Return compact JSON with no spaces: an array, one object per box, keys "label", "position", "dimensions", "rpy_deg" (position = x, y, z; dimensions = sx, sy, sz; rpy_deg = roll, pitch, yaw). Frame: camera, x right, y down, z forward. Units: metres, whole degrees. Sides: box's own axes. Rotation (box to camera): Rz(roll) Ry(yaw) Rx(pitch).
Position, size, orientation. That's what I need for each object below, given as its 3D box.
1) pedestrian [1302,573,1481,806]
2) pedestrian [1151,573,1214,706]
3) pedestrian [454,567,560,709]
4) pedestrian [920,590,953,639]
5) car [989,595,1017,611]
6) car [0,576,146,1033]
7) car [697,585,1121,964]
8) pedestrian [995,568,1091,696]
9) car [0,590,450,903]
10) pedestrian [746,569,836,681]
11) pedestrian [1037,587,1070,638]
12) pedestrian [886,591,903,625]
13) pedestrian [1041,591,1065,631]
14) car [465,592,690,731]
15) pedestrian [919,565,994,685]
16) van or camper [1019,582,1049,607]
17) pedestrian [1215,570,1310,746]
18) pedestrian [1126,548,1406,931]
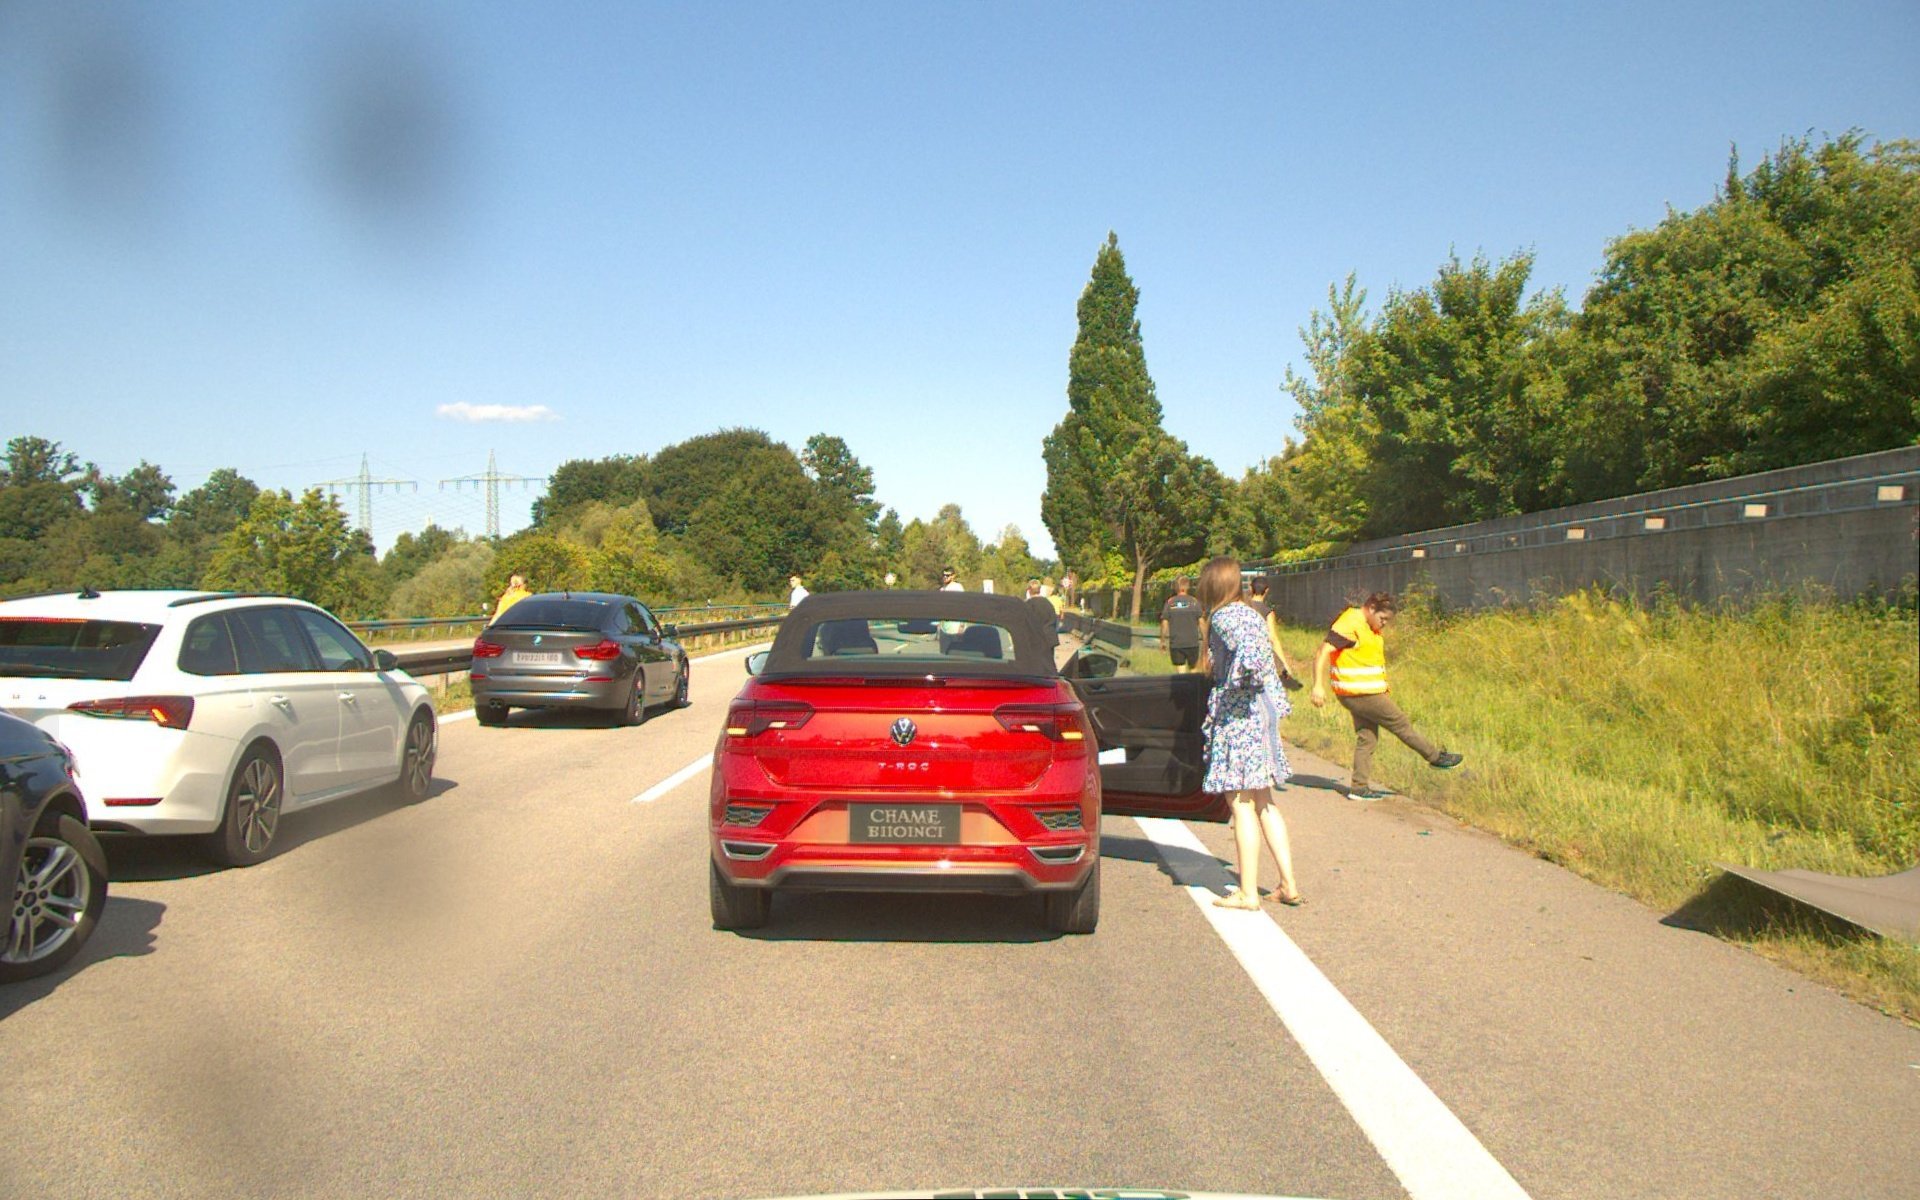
[{"label":"pedestrian","position":[3.254,0.649,12.551],"dimensions":[1.247,1.682,0.961],"rpy_deg":[-1,0,13]},{"label":"pedestrian","position":[3.071,0.533,22.795],"dimensions":[0.794,1.790,0.829],"rpy_deg":[1,-1,10]},{"label":"pedestrian","position":[-5.910,0.479,21.636],"dimensions":[1.019,1.794,1.119],"rpy_deg":[-1,0,3]},{"label":"pedestrian","position":[-0.857,0.529,59.353],"dimensions":[0.953,1.719,1.113],"rpy_deg":[1,0,-13]},{"label":"car","position":[4.213,0.330,162.104],"dimensions":[1.696,1.513,4.213],"rpy_deg":[1,0,16]},{"label":"car","position":[-3.945,0.685,4.519],"dimensions":[1.754,1.519,4.484],"rpy_deg":[-1,0,-8]},{"label":"car","position":[-0.204,0.697,8.802],"dimensions":[1.697,1.513,4.210],"rpy_deg":[1,0,0]},{"label":"pedestrian","position":[1.277,0.479,25.517],"dimensions":[1.078,1.916,1.058],"rpy_deg":[-1,0,-29]},{"label":"car","position":[-4.567,0.687,9.971],"dimensions":[1.660,1.467,4.210],"rpy_deg":[1,0,0]},{"label":"pedestrian","position":[-2.812,0.412,27.524],"dimensions":[1.079,1.820,1.094],"rpy_deg":[1,-1,-35]},{"label":"pedestrian","position":[3.186,0.432,56.359],"dimensions":[1.033,1.719,1.018],"rpy_deg":[1,0,7]},{"label":"pedestrian","position":[-3.380,0.404,85.273],"dimensions":[0.775,1.719,0.793],"rpy_deg":[1,-1,5]},{"label":"pedestrian","position":[4.008,0.472,71.369],"dimensions":[0.975,1.719,1.011],"rpy_deg":[1,0,3]},{"label":"car","position":[-4.423,0.645,19.766],"dimensions":[1.660,1.451,4.334],"rpy_deg":[1,0,0]},{"label":"pedestrian","position":[-0.069,0.401,27.586],"dimensions":[1.085,1.946,1.255],"rpy_deg":[-1,0,-8]},{"label":"van or camper","position":[7.234,-0.492,161.054],"dimensions":[1.951,2.356,4.473],"rpy_deg":[1,0,16]},{"label":"pedestrian","position":[3.106,0.582,17.035],"dimensions":[0.876,1.755,0.755],"rpy_deg":[1,-1,5]},{"label":"pedestrian","position":[1.477,0.622,8.132],"dimensions":[0.878,1.725,1.121],"rpy_deg":[-1,0,-23]}]
